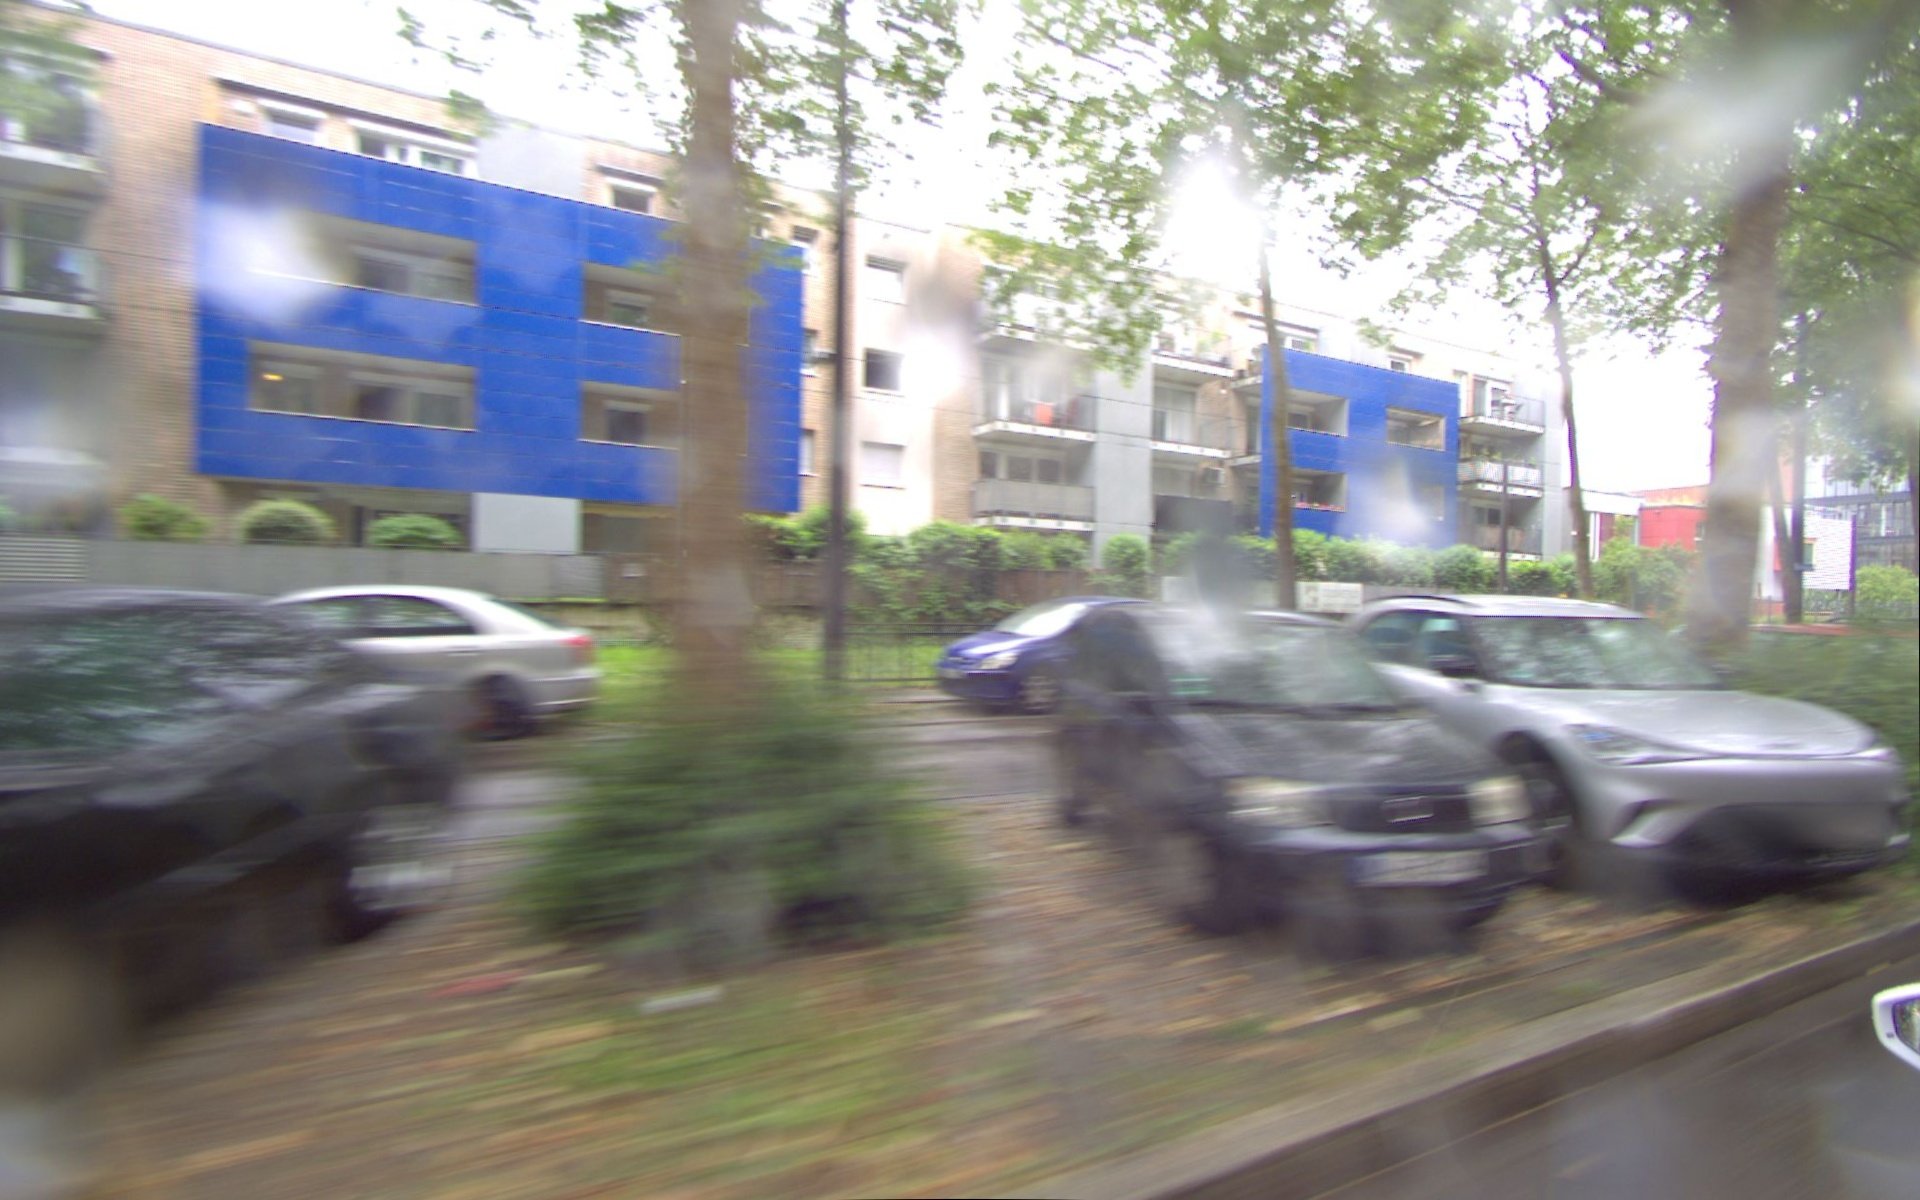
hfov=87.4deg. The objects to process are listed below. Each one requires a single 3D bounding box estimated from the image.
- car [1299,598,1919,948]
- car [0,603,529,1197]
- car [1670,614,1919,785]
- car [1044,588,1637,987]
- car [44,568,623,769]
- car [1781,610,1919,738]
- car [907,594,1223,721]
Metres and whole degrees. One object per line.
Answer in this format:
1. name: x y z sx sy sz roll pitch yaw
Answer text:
1. car: 3.923 0.785 6.621 1.800 1.558 4.063 0 0 -3
2. car: -3.103 0.686 2.961 1.811 1.343 4.659 0 -1 -2
3. car: 9.638 0.936 10.616 1.709 1.499 3.654 0 0 1
4. car: 1.650 0.731 5.612 1.612 1.487 3.506 0 -1 -8
5. car: -5.737 0.543 9.766 4.371 1.554 1.894 0 0 -32
6. car: 12.300 0.904 11.812 1.710 1.499 4.229 0 0 -2
7. car: 1.525 0.710 14.174 4.168 1.554 1.894 0 0 -32
